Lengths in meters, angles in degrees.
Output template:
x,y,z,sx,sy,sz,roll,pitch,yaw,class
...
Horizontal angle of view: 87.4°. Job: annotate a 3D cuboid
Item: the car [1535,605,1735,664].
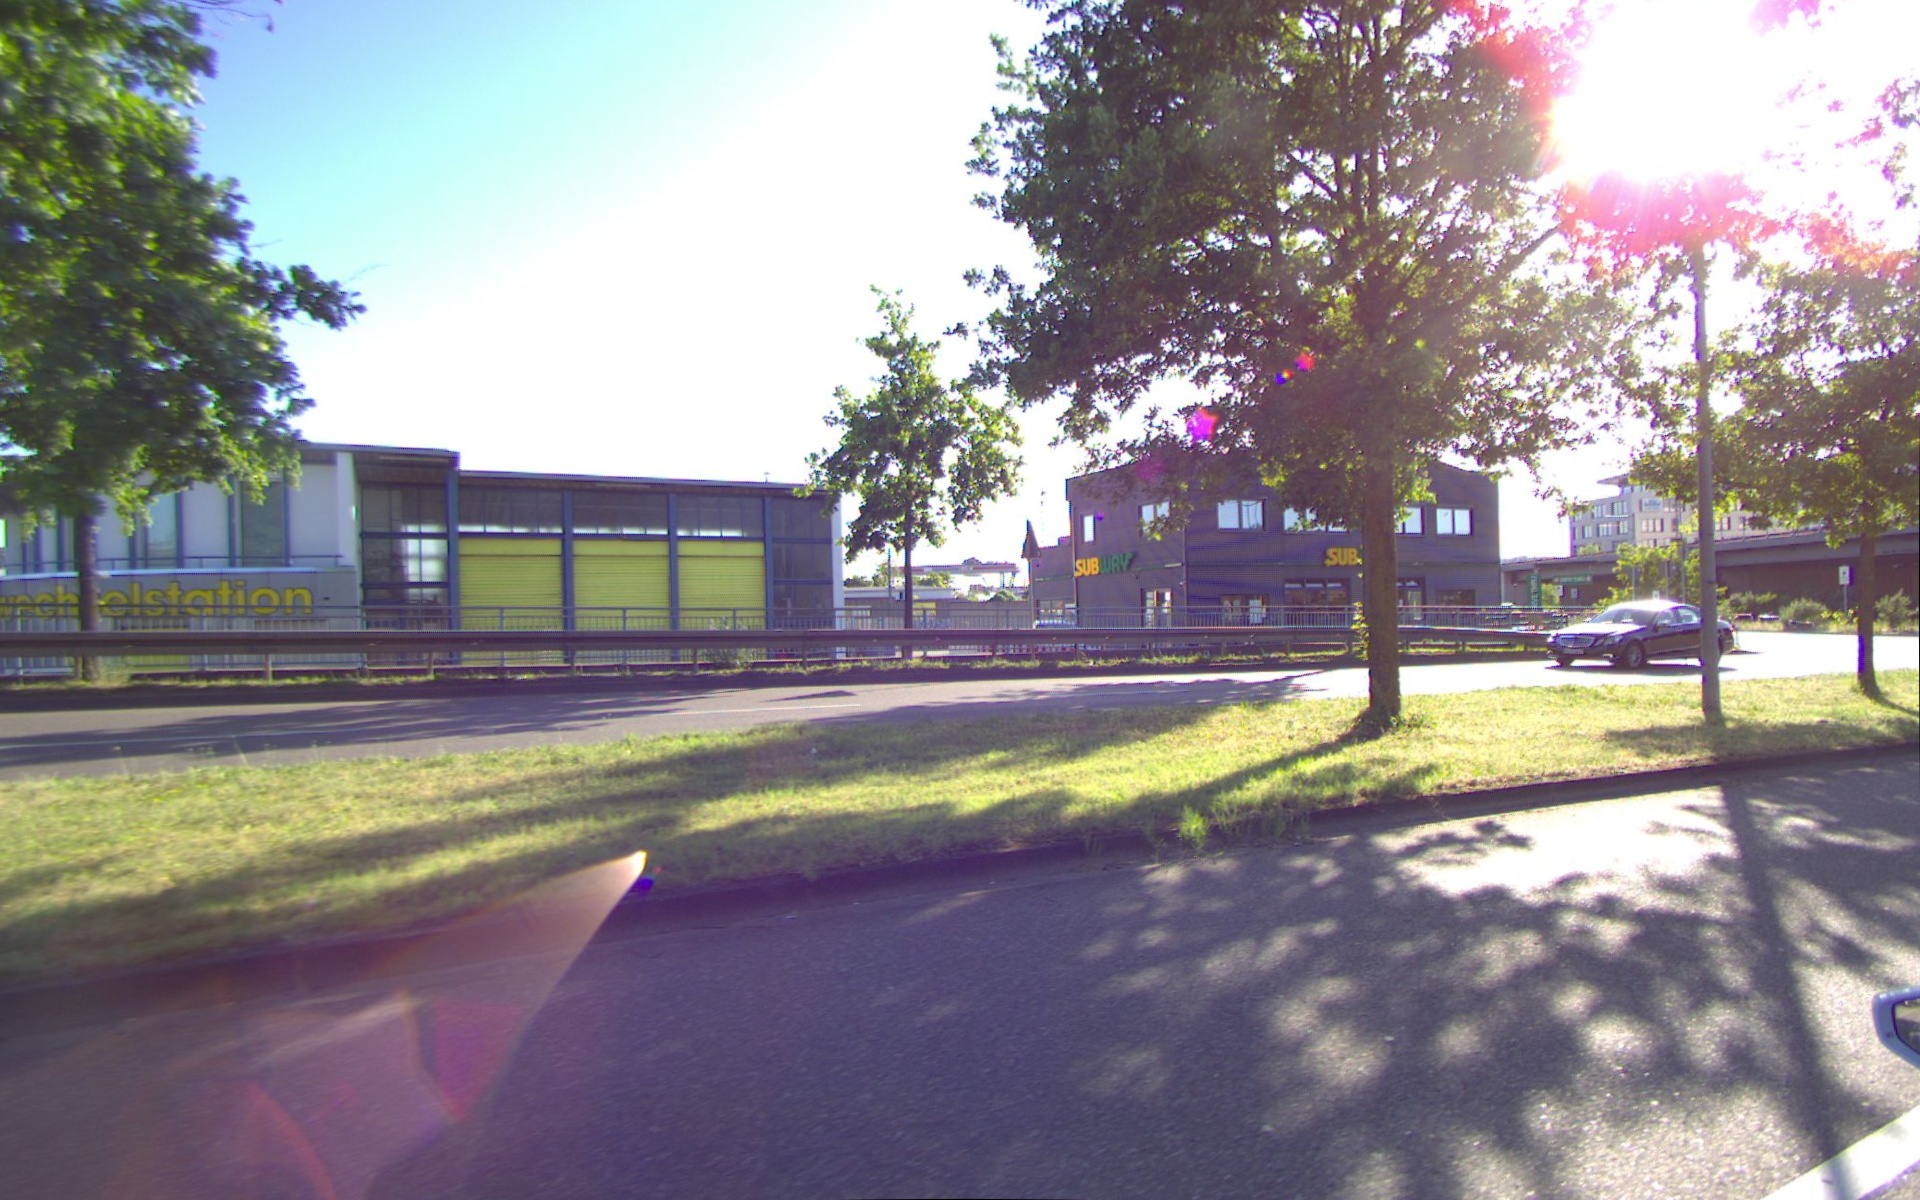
x,y,z,sx,sy,sz,roll,pitch,yaw,class
16.168,0.787,24.048,4.549,1.327,1.796,0,0,-23,car
